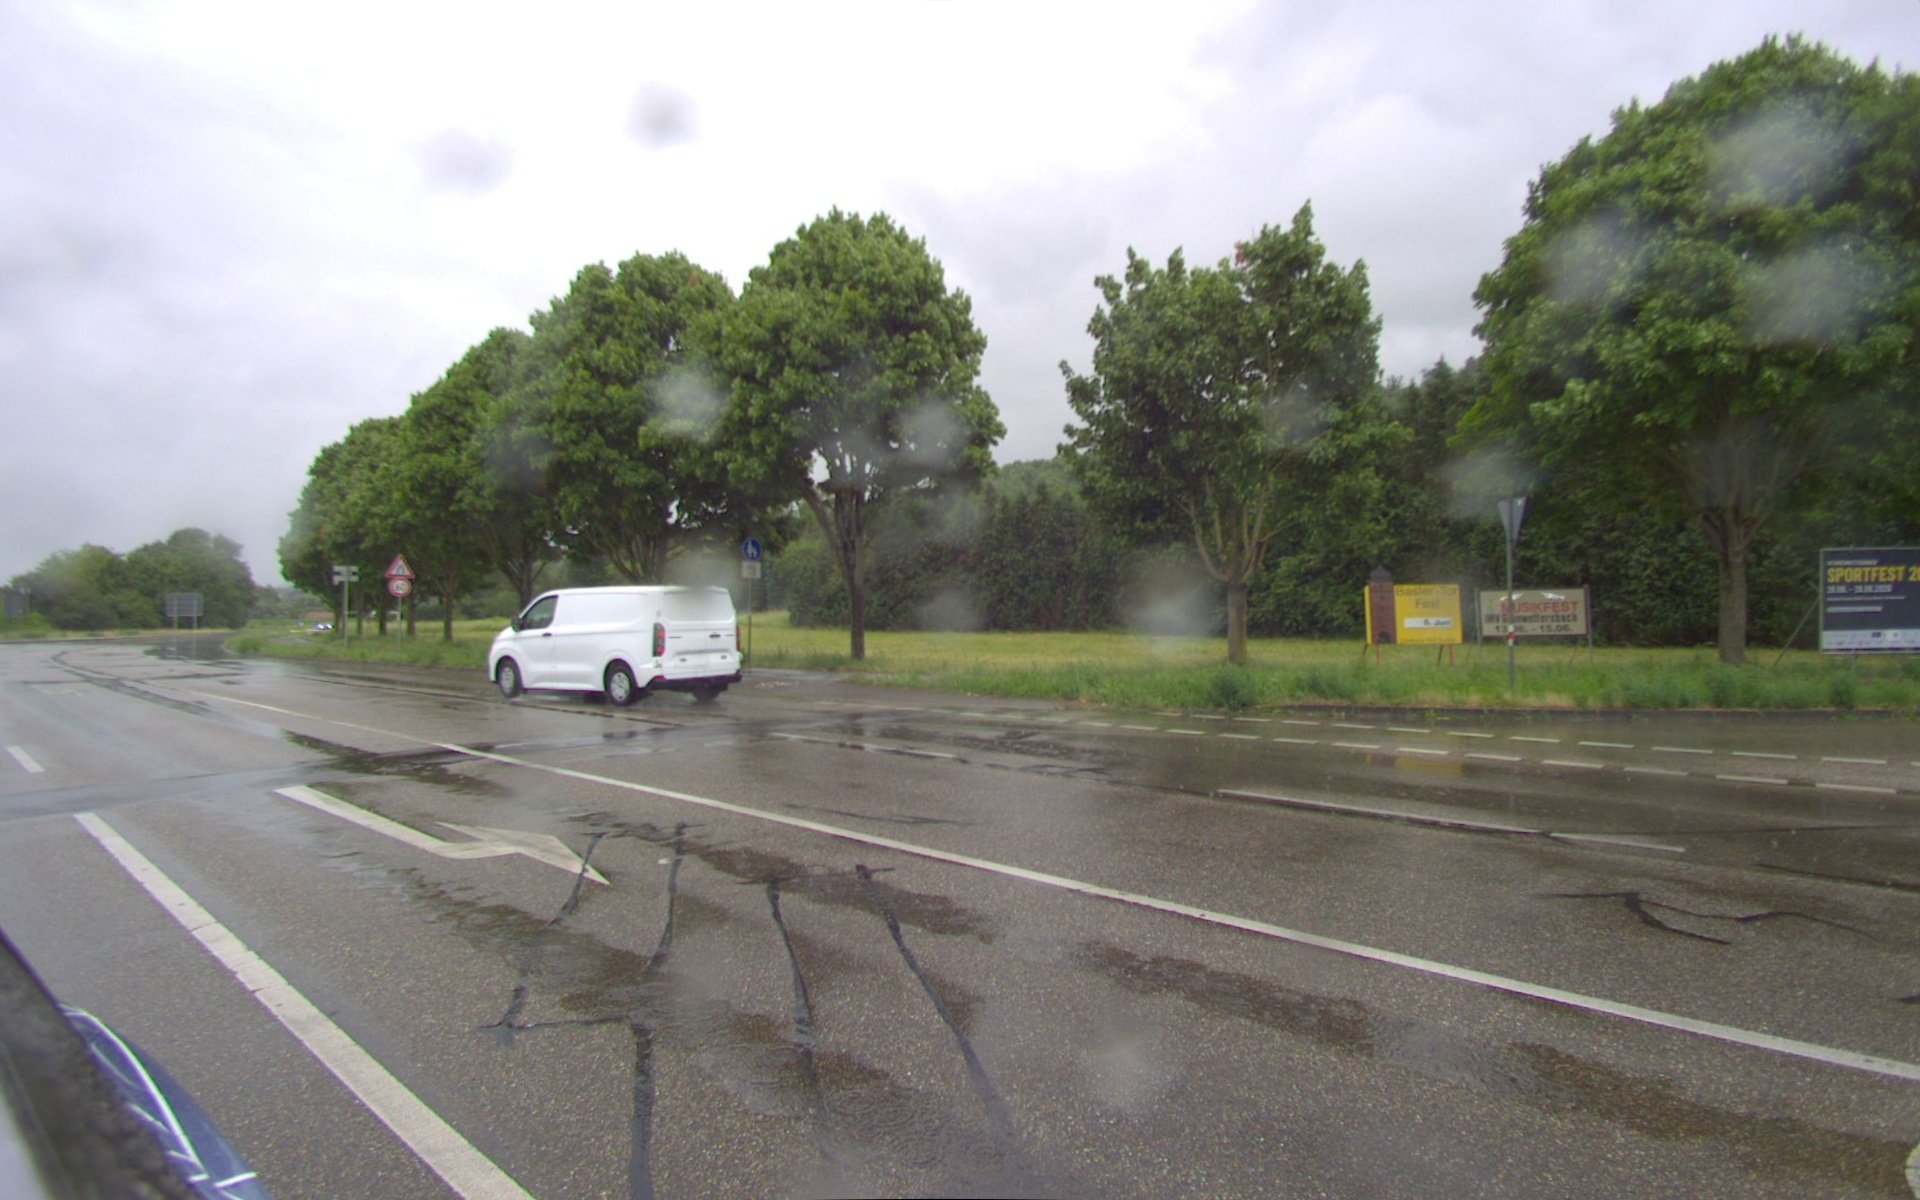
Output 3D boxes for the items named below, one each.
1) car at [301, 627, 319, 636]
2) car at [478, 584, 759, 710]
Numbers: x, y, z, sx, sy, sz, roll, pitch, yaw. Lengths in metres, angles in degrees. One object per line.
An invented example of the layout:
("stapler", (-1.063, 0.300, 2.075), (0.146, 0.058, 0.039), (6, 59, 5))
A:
("car", (-113.072, 5.483, 176.128), (1.884, 1.597, 4.116), (0, 0, -21))
("car", (-5.962, 0.763, 17.473), (4.776, 1.907, 2.090), (-1, -1, 33))
